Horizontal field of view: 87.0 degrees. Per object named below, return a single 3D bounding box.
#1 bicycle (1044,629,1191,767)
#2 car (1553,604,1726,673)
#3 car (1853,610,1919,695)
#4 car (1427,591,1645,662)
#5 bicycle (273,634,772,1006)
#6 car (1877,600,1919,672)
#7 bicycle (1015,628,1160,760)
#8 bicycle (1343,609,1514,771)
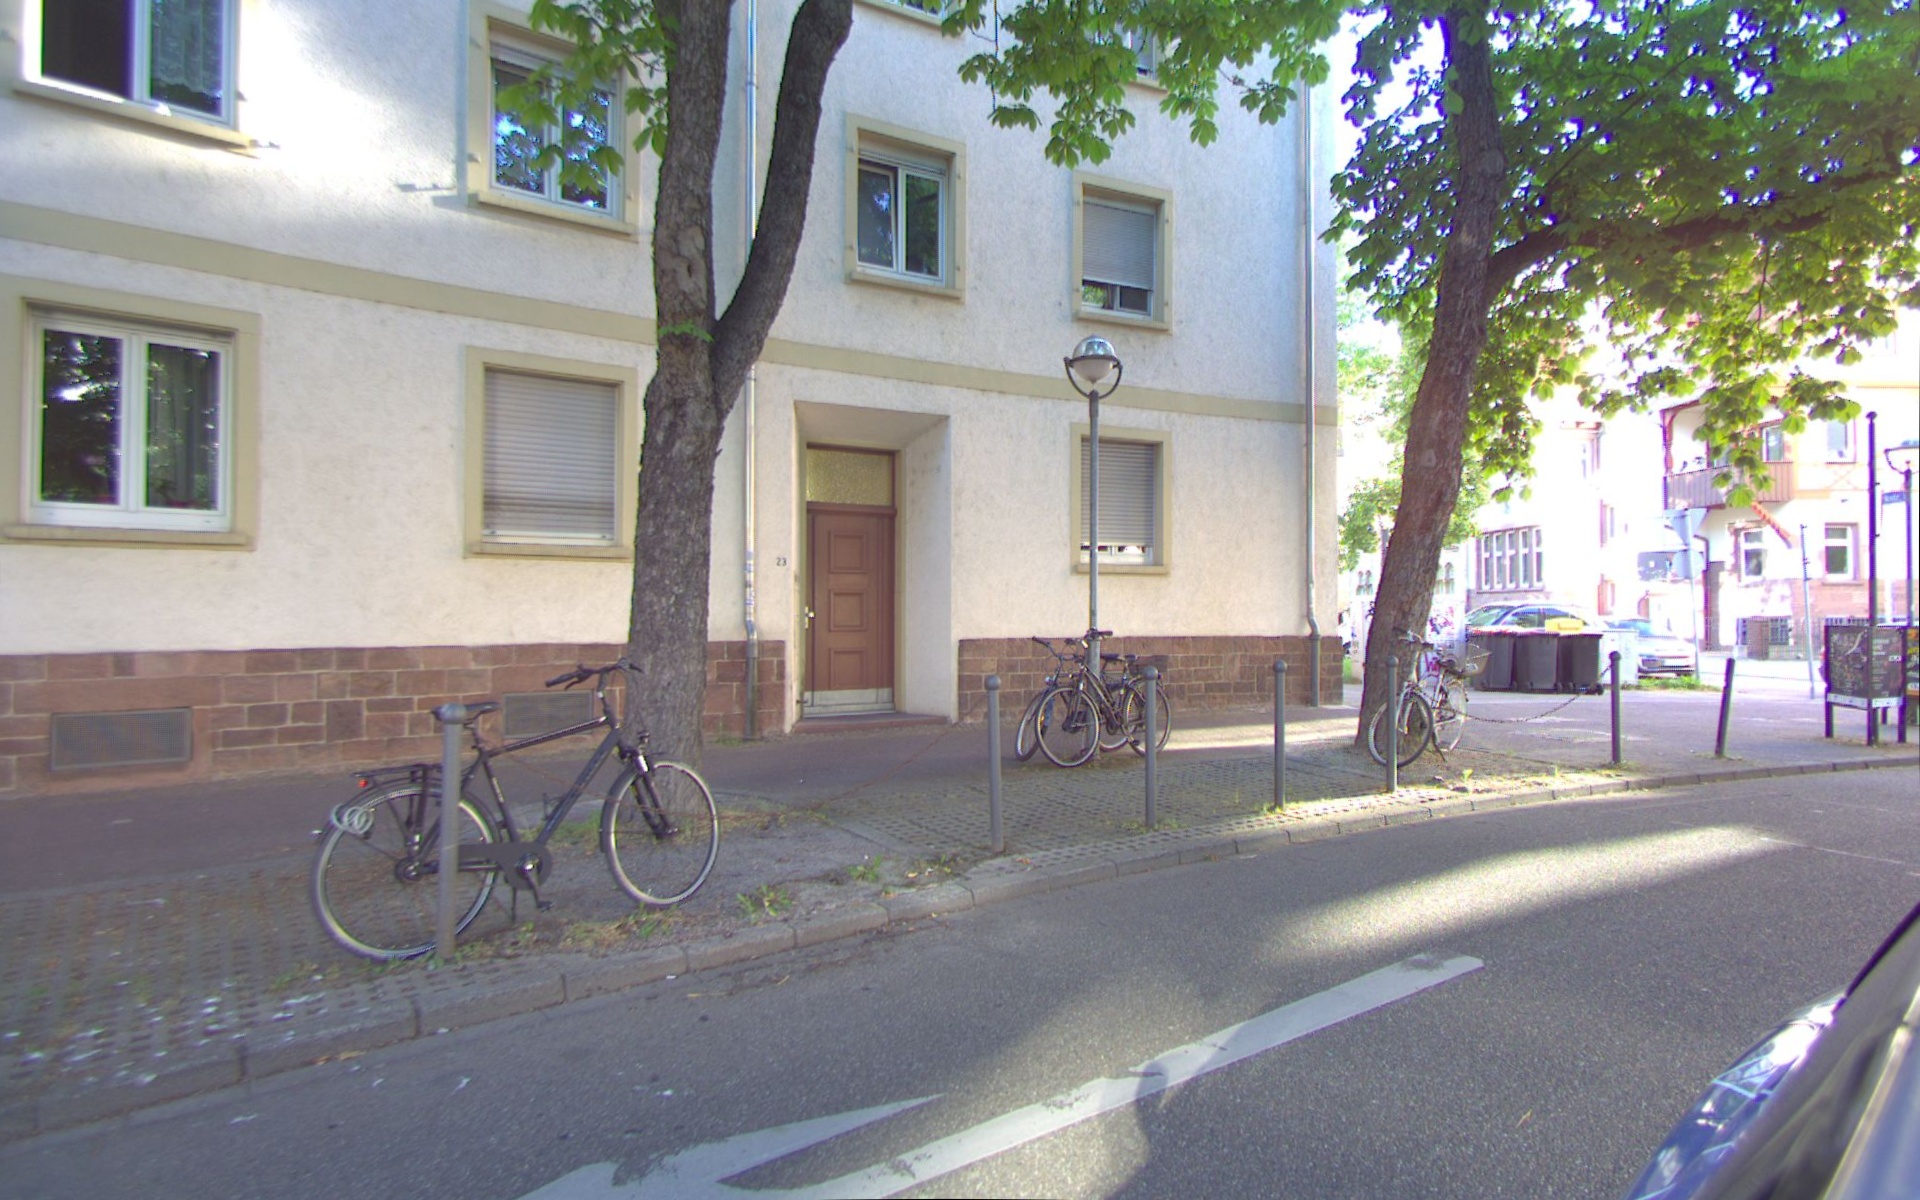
[{"bbox_3d":[1.433,0.825,9.017,1.607,1.108,0.334,0,-2,-41],"label":"bicycle"},{"bbox_3d":[16.695,0.901,25.124,1.665,1.572,4.048,0,-1,3],"label":"car"},{"bbox_3d":[16.892,0.884,16.667,1.446,1.407,3.397,-1,-1,4],"label":"car"},{"bbox_3d":[12.289,0.549,21.725,3.728,1.443,1.677,0,-1,-5],"label":"car"},{"bbox_3d":[-1.819,0.793,4.434,1.882,1.238,0.718,0,-1,-44],"label":"bicycle"},{"bbox_3d":[21.539,0.790,21.297,1.463,1.559,3.218,1,0,-3],"label":"car"},{"bbox_3d":[1.204,0.824,9.339,1.607,1.108,0.334,0,-2,-41],"label":"bicycle"},{"bbox_3d":[4.297,0.747,9.221,1.871,1.321,0.766,1,-1,-43],"label":"bicycle"}]
